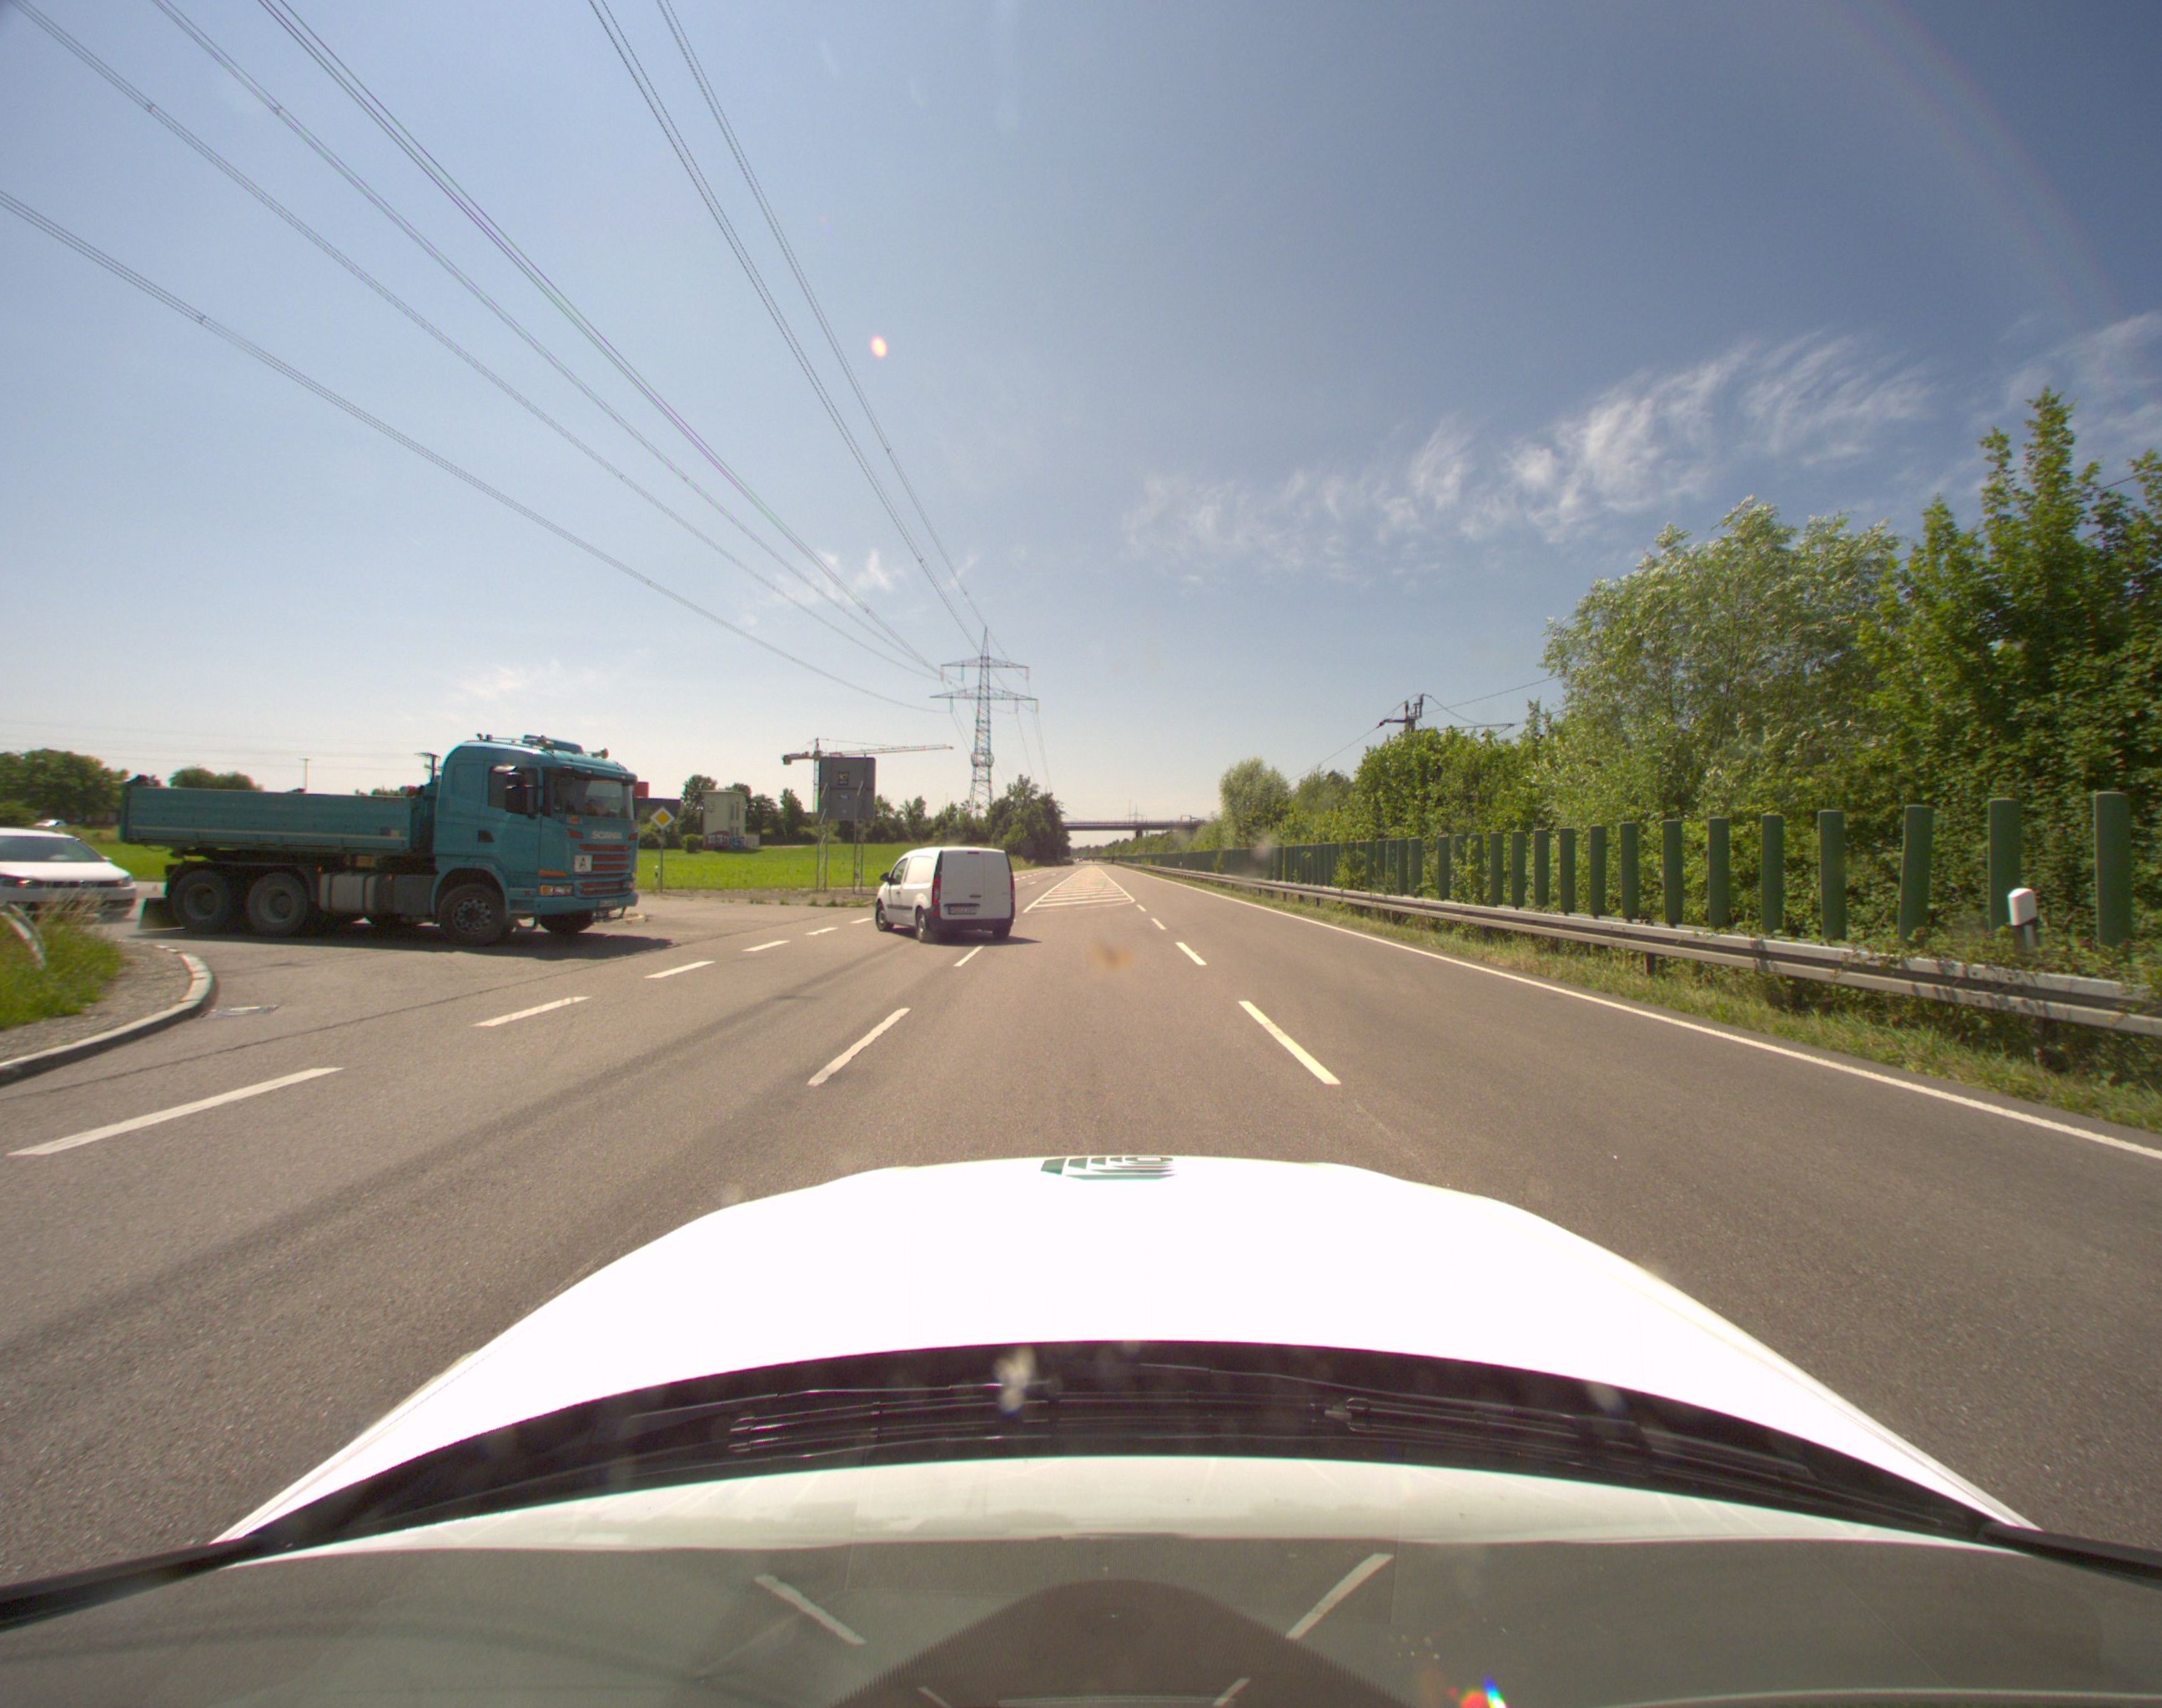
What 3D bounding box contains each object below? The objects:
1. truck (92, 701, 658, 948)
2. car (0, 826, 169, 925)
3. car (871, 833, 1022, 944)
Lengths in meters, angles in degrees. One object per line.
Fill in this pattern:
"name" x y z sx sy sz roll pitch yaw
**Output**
"truck" -12.163 -0.504 14.462 7.872 3.734 2.500 2 0 3
"car" -19.481 0.313 14.814 4.508 1.612 1.976 1 0 15
"car" -2.863 0.619 16.637 1.838 1.971 3.963 0 0 -29
